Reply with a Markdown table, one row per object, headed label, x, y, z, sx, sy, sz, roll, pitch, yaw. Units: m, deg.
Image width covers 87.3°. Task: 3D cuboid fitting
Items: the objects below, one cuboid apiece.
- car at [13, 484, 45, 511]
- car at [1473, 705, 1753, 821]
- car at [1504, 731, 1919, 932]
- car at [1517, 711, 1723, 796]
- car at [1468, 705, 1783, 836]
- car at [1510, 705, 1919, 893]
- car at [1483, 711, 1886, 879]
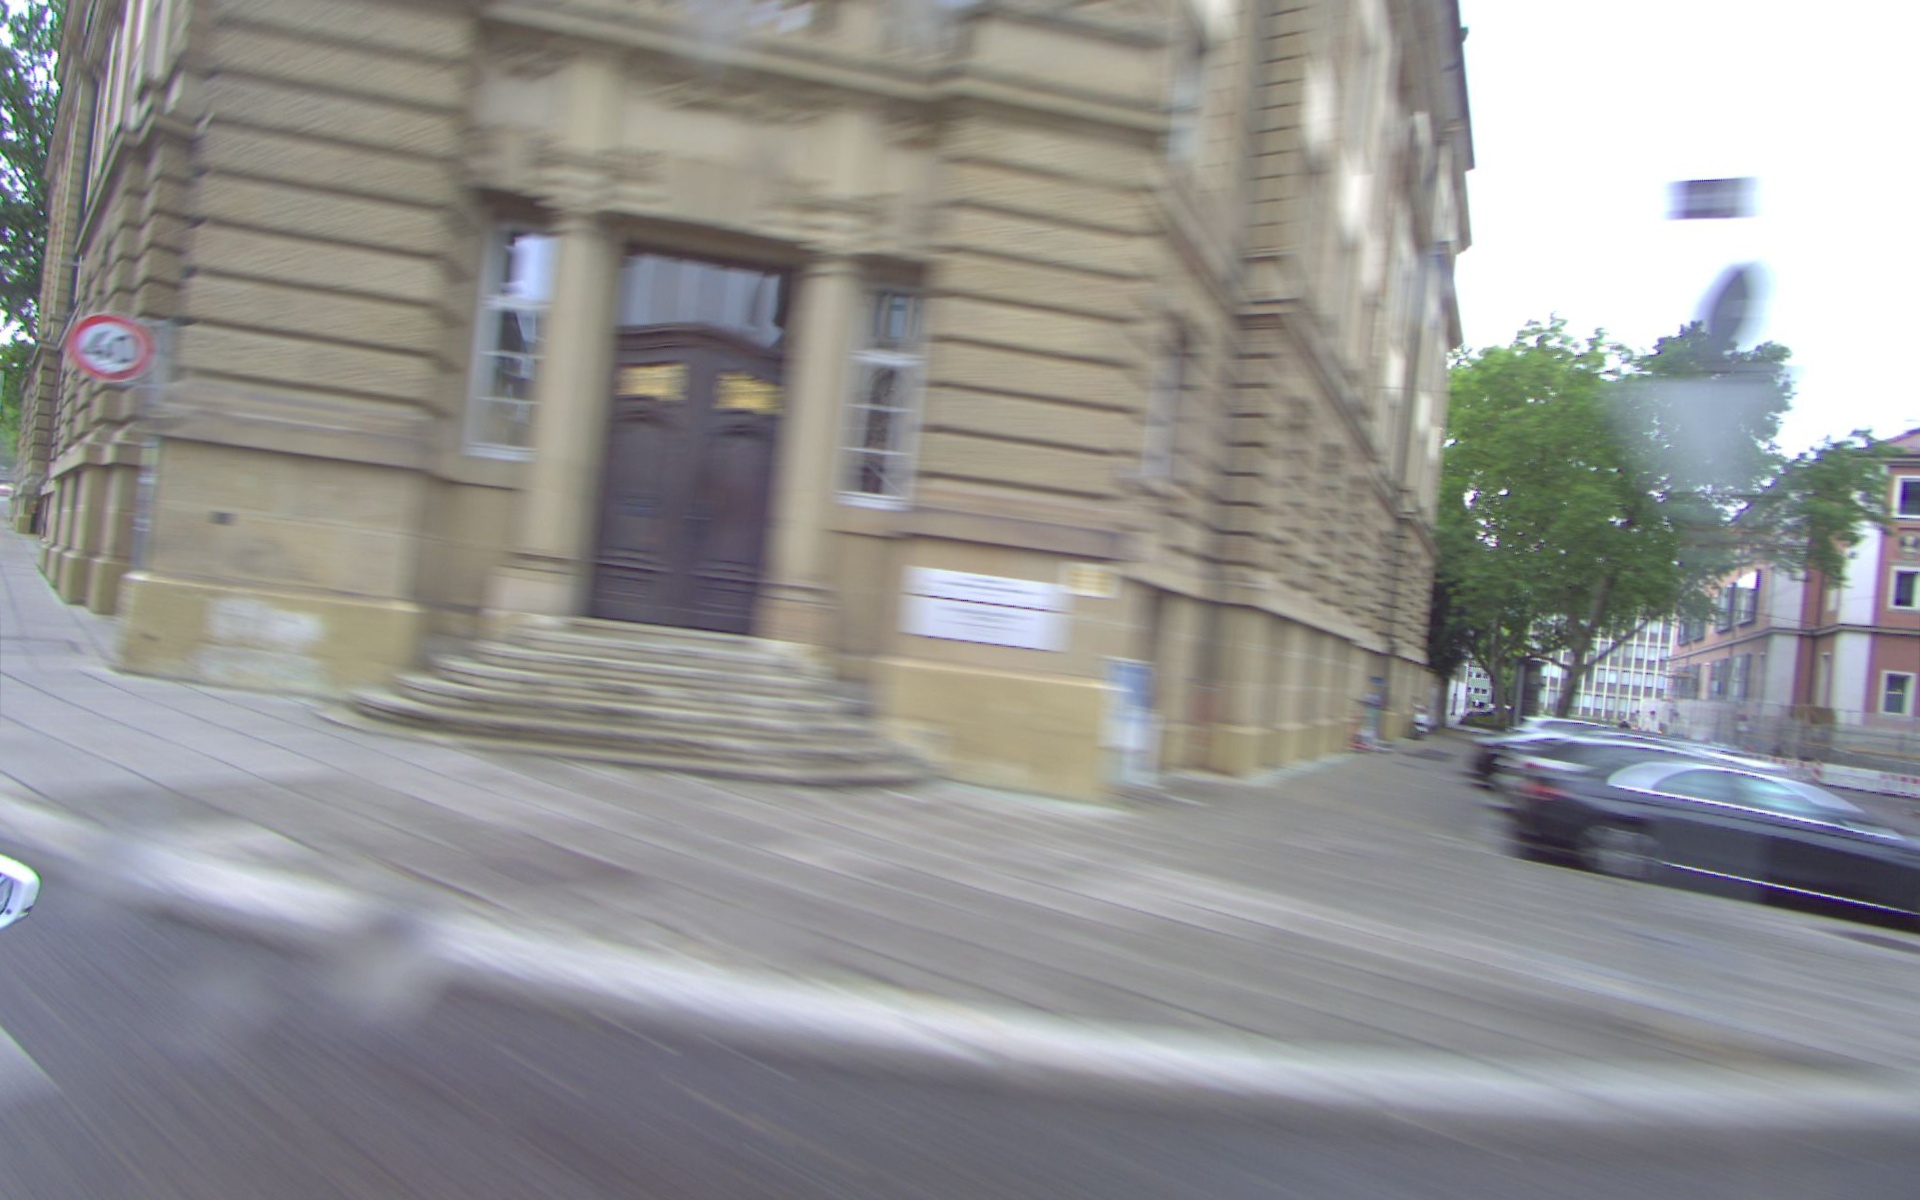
| label | x | y | z | sx | sy | sz | roll | pitch | yaw |
| --- | --- | --- | --- | --- | --- | --- | --- | --- | --- |
| car | -127.593 | -14.093 | 137.892 | 4.963 | 3.168 | 2.543 | 5 | -3 | 42 |
| car | 14.077 | 3.476 | 22.051 | 4.822 | 1.613 | 1.980 | 6 | -3 | 31 |
| car | 8.927 | 2.569 | 11.469 | 4.621 | 1.413 | 1.979 | 6 | -3 | 31 |
| car | 19.436 | 4.488 | 29.831 | 4.827 | 1.613 | 1.978 | 6 | -3 | 35 |
| car | 12.805 | 3.242 | 19.765 | 4.822 | 1.613 | 1.980 | 6 | -3 | 31 |
| car | 10.212 | 2.592 | 13.807 | 4.475 | 1.613 | 1.979 | 6 | -3 | 31 |
| car | 11.162 | 2.945 | 16.014 | 4.822 | 1.613 | 1.980 | 6 | -3 | 31 |
